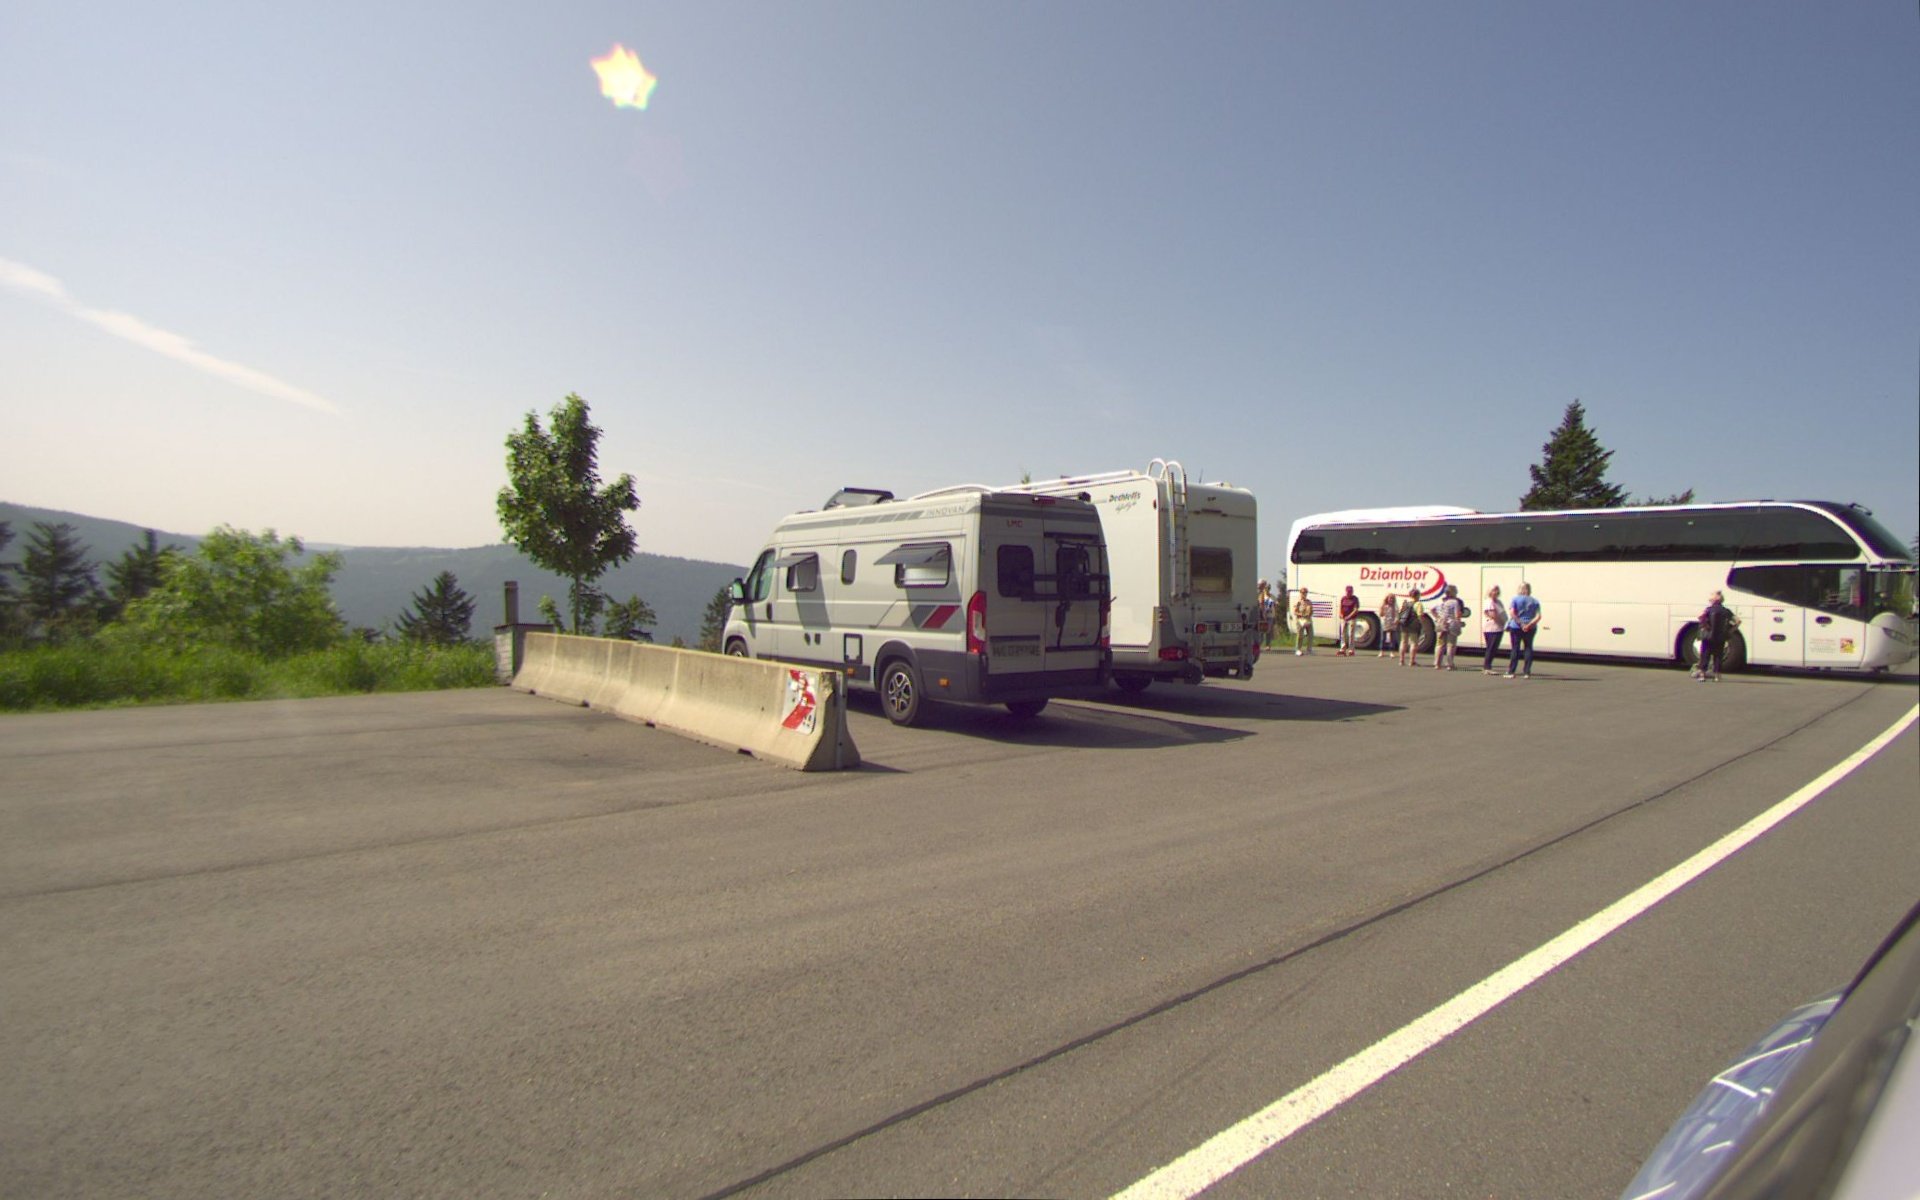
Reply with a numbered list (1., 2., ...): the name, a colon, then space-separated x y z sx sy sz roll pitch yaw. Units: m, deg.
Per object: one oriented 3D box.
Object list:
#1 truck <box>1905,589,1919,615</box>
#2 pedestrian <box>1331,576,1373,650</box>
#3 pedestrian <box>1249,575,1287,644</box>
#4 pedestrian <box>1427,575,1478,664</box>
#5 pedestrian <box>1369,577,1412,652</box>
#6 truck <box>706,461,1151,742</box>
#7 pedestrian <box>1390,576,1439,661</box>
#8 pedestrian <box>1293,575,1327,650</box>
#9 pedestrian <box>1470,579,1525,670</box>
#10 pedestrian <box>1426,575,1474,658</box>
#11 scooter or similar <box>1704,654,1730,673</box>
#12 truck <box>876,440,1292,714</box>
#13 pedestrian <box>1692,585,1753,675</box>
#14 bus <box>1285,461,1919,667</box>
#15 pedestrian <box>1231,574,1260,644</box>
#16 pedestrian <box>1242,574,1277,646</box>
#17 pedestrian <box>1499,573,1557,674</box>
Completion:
1. truck: 114.045 0.295 117.149 8.576 2.865 2.877 1 1 -17
2. pedestrian: 9.306 0.296 24.027 0.615 1.718 0.633 1 1 -26
3. pedestrian: 7.800 0.227 25.619 0.615 1.718 0.633 1 1 -26
4. pedestrian: 9.755 0.371 20.038 0.615 1.719 0.633 1 1 -26
5. pedestrian: 9.958 0.324 23.437 0.615 1.718 0.633 1 1 -26
6. truck: -0.784 -0.076 12.654 2.297 2.623 6.278 1 1 -38
7. pedestrian: 9.329 0.373 20.774 0.615 1.718 0.633 1 1 -26
8. pedestrian: 8.192 0.280 23.713 0.622 1.718 0.626 1 1 9
9. pedestrian: 10.154 0.452 19.116 0.615 1.671 0.633 1 1 -16
10. pedestrian: 10.240 0.344 21.166 0.615 1.700 0.633 1 1 -26
11. scooter or similar: 14.161 1.190 18.922 0.320 0.315 0.286 1 1 -31
12. truck: 1.554 -0.327 15.115 2.489 3.236 6.073 0 1 -41
13. pedestrian: 13.754 0.527 18.260 0.615 1.586 0.633 1 1 -26
14. bus: 14.033 -0.834 23.677 2.787 3.622 12.881 0 1 -38
15. pedestrian: 7.134 0.220 25.284 0.475 1.718 0.469 1 1 -26
16. pedestrian: 7.260 0.240 24.548 0.498 1.718 0.633 1 1 -26
17. pedestrian: 10.291 0.413 18.343 0.615 1.780 0.633 1 1 -26
